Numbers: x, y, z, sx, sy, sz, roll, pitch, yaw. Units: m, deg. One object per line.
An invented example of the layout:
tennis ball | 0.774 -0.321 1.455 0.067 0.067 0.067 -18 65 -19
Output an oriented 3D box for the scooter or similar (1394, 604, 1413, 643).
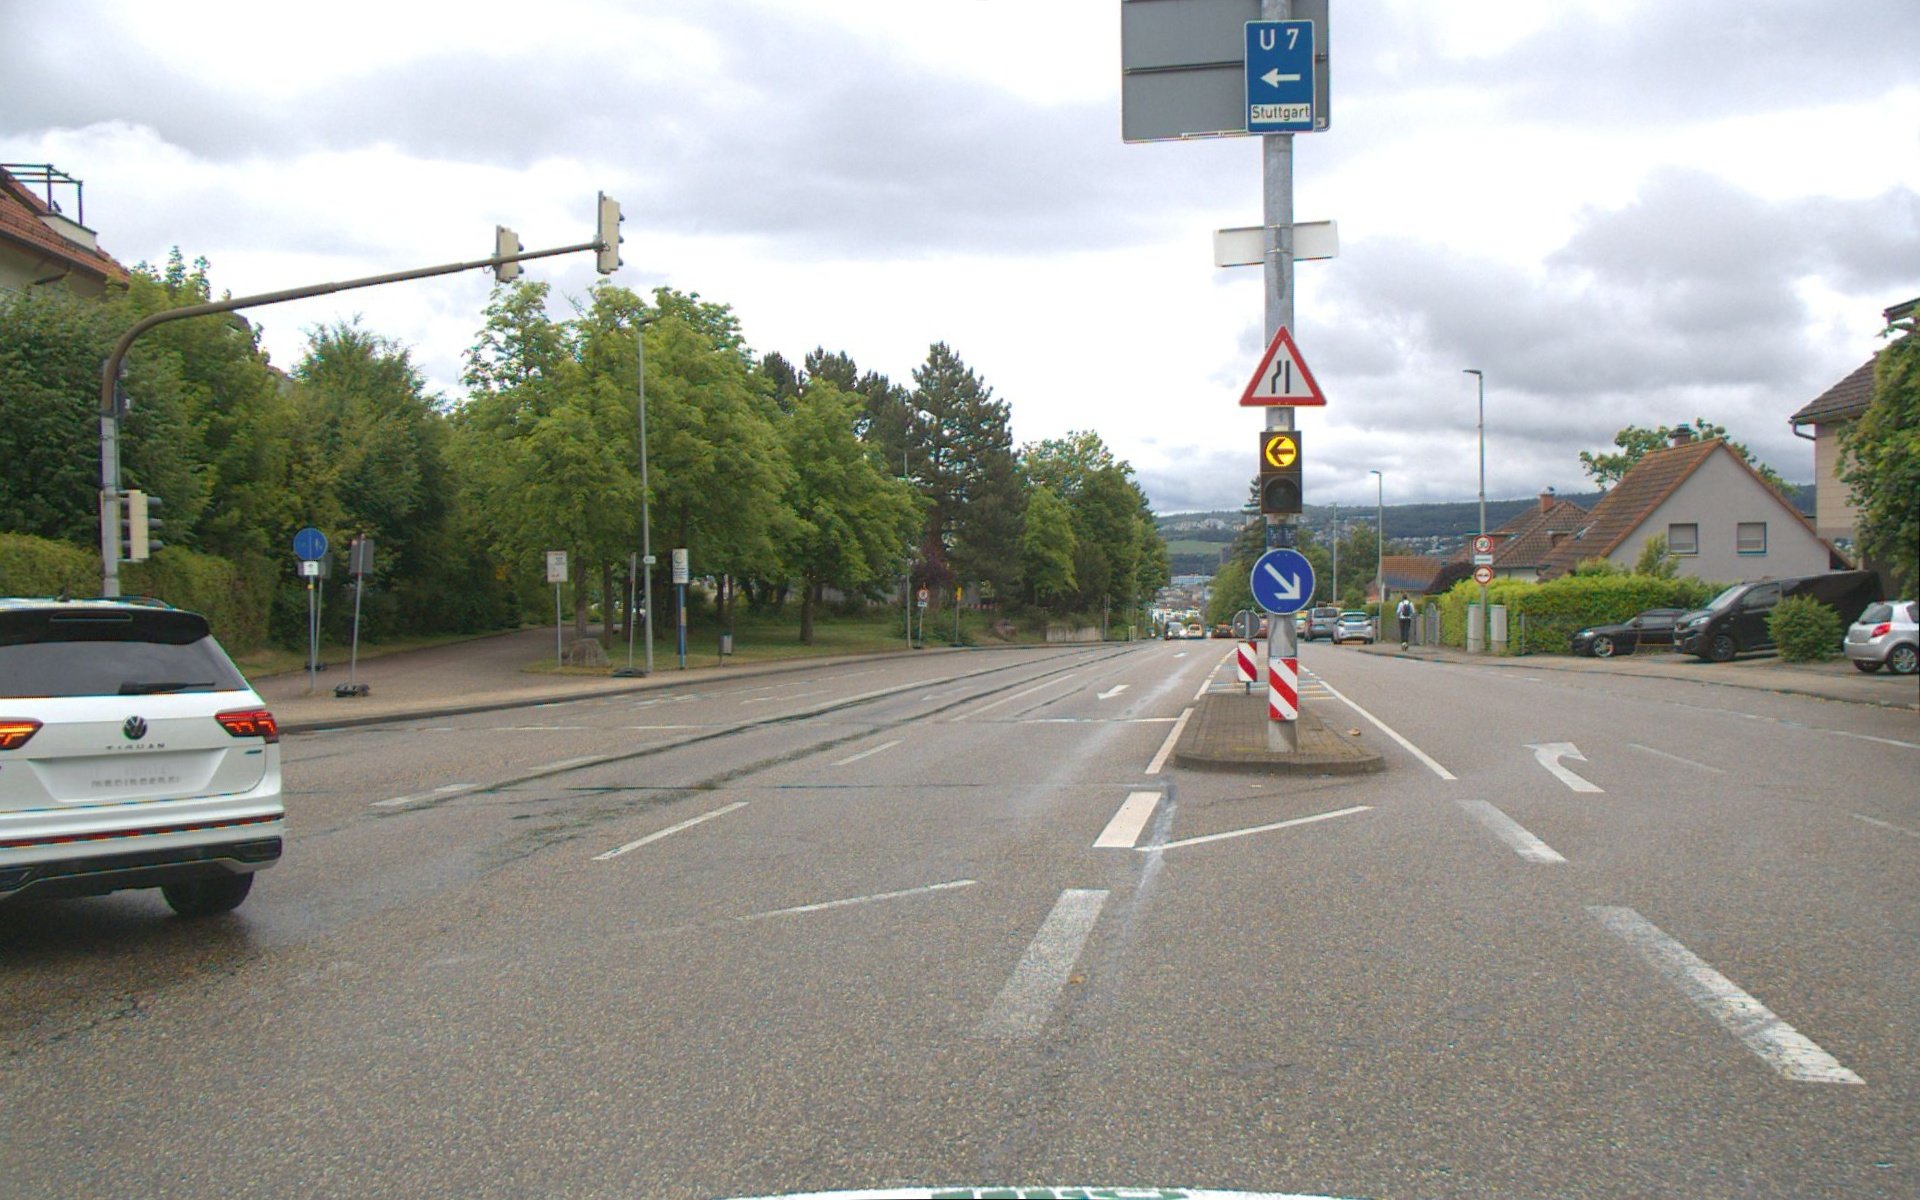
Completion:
scooter or similar | 16.110 0.841 60.103 0.451 1.385 1.386 0 0 8

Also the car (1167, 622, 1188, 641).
car | 21.833 3.140 165.813 1.805 1.747 4.003 -1 0 12

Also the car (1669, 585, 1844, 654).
car | 19.842 0.475 41.338 3.550 1.654 1.793 -1 0 7

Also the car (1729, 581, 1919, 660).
car | 20.152 0.466 38.673 3.550 1.777 1.709 -1 0 7

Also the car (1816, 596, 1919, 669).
car | 19.509 0.638 33.289 3.636 1.420 1.729 -1 -1 4

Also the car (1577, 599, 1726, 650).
car | 19.347 0.697 46.373 3.609 1.394 1.520 0 -2 9

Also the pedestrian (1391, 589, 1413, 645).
pedestrian | 16.080 0.622 60.191 0.641 2.037 0.718 0 0 7

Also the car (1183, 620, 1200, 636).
car | 28.321 3.384 202.108 1.846 1.825 4.004 -1 0 10

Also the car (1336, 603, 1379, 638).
car | 19.049 0.963 79.323 1.811 1.602 4.004 1 0 11

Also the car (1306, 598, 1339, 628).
car | 21.437 0.749 97.944 1.811 1.601 4.004 0 2 11

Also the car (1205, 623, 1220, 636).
car | 33.617 3.900 220.300 1.951 1.680 4.003 -1 0 9

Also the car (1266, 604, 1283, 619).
car | 34.051 1.257 178.896 1.811 1.602 4.004 -1 0 11

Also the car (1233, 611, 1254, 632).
car | 25.834 1.921 150.533 1.759 1.814 4.003 0 0 11

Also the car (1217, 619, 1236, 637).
car | 27.645 2.897 171.380 1.846 1.825 4.004 -1 0 11

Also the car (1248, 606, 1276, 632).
car | 19.491 1.192 106.604 1.717 1.602 4.004 -1 0 11

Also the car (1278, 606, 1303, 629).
car | 24.459 1.293 122.474 1.811 1.602 4.004 -1 0 11

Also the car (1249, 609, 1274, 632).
car | 21.950 1.461 120.355 1.701 1.602 4.004 -1 0 11

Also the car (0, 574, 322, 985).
car | -5.337 0.804 8.765 4.190 1.725 1.760 -2 0 39
